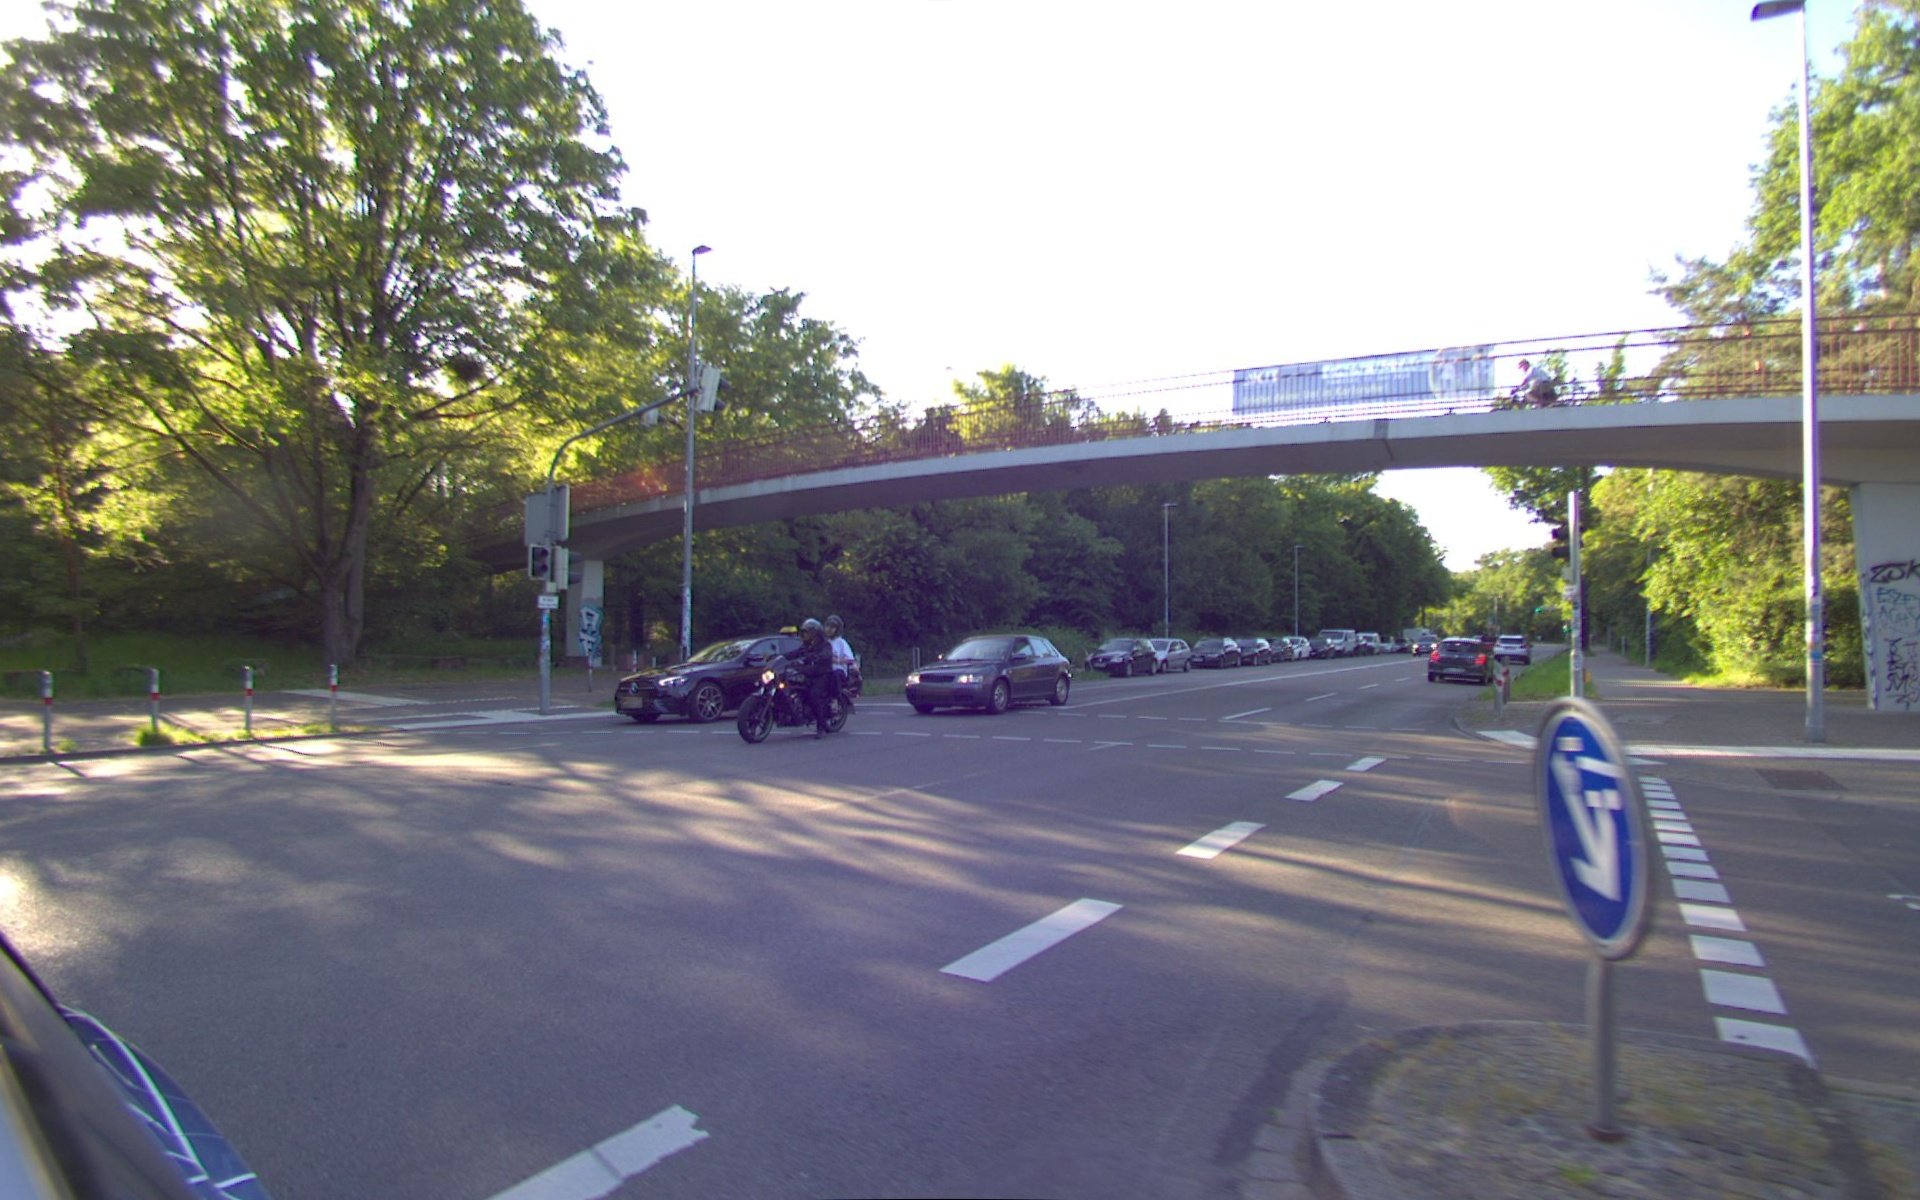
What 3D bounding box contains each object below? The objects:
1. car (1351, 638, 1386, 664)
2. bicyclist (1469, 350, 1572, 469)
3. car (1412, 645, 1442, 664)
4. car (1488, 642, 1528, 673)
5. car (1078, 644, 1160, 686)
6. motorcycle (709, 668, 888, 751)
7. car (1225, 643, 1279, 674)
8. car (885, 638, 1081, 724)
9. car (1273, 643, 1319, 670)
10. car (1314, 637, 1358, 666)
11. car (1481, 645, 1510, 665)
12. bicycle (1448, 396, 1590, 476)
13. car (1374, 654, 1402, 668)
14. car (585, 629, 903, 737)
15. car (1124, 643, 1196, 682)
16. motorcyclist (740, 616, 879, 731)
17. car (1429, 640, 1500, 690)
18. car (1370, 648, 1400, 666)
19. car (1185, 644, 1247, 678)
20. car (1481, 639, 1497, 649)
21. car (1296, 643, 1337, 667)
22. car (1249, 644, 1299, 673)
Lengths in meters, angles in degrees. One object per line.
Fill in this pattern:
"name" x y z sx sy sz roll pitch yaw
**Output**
"car" 33.599 4.158 83.129 1.947 1.991 4.348 0 -2 32
"bicyclist" 11.730 -3.921 21.165 1.678 2.185 1.397 5 1 32
"car" 33.482 3.881 72.499 1.461 1.254 3.956 -1 -3 32
"car" 30.018 3.110 55.366 1.677 1.535 3.858 1 -2 32
"car" 6.139 2.461 38.807 1.690 1.519 4.081 -1 -3 32
"motorcycle" -2.114 1.434 13.764 0.806 0.920 2.681 -1 -2 34
"car" 15.386 3.047 53.238 1.700 1.519 4.092 0 -2 32
"car" 0.533 1.410 18.595 1.863 1.400 3.956 -2 -3 32
"car" 20.644 3.452 62.131 1.732 1.519 4.348 0 -2 32
"car" 27.019 3.657 72.678 2.012 1.991 4.986 0 -2 32
"car" 42.367 4.298 79.999 1.751 1.467 3.599 1 -2 32
"bicycle" 11.623 -3.364 21.069 2.443 1.383 1.039 3 0 35
"car" 41.074 5.850 97.035 1.910 1.230 3.957 -1 -3 31
"car" -3.665 1.379 18.458 1.996 1.647 5.813 -1 -3 36
"car" 8.516 2.620 42.899 1.716 1.519 3.932 0 -2 32
"motorcyclist" -2.039 0.956 13.851 1.136 1.438 1.548 -1 -1 35
"car" 16.686 2.115 33.401 1.708 1.464 3.599 2 -1 32
"car" 38.834 5.162 92.502 1.889 1.558 4.348 0 -2 31
"car" 12.312 2.869 48.532 1.732 1.519 4.108 0 -2 32
"car" 80.651 6.728 154.324 1.889 1.511 4.348 0 -2 31
"car" 23.635 3.606 67.021 1.732 1.519 4.348 0 -2 32
"car" 17.901 3.290 57.615 1.732 1.519 4.180 0 -2 32
